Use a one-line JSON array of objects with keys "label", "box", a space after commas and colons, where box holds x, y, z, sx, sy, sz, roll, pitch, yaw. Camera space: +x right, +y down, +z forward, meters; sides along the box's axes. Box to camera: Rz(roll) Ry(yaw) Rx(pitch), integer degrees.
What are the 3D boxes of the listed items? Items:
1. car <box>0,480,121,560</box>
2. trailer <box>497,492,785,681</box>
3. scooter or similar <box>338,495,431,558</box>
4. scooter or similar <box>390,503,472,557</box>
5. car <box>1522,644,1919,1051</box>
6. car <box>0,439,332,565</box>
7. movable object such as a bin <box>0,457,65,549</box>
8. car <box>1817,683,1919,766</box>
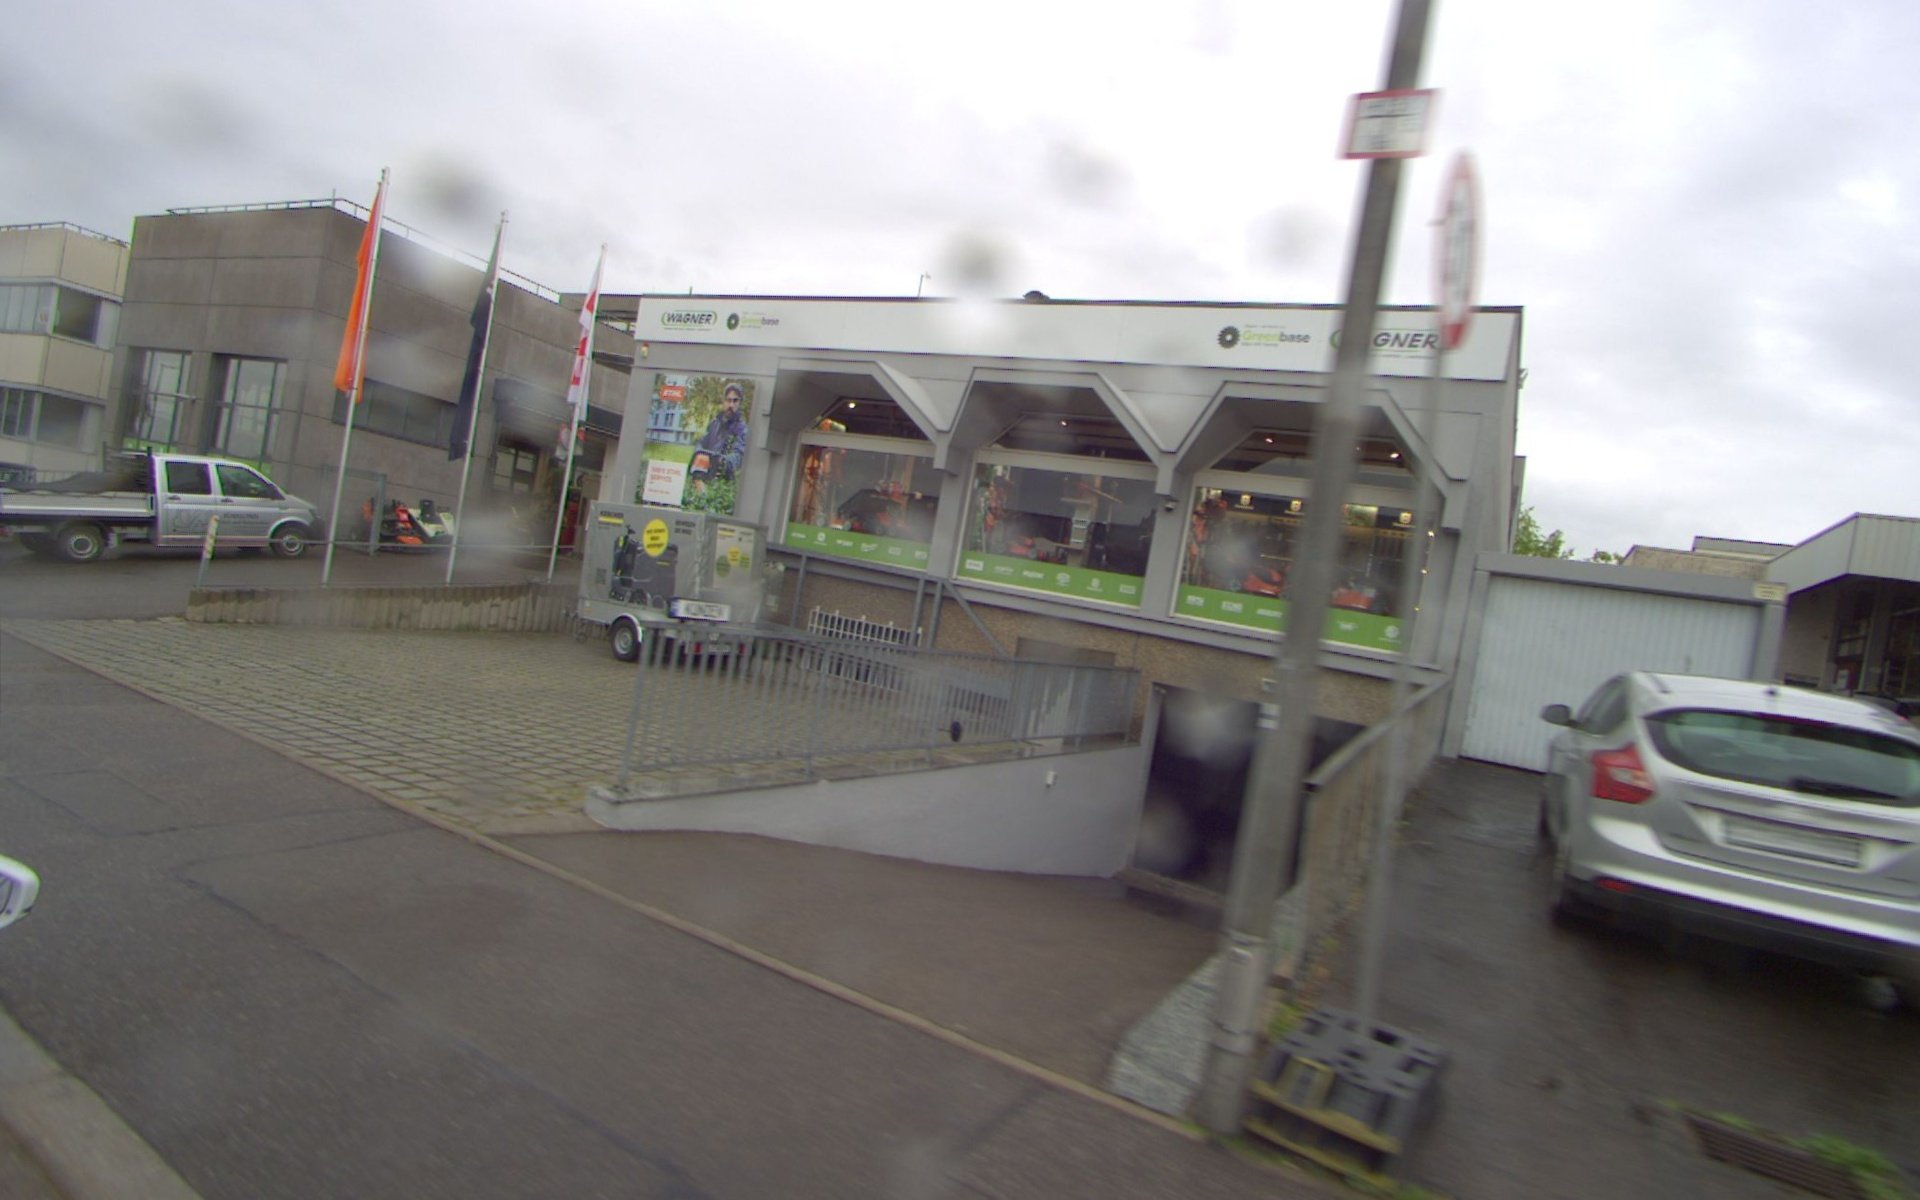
[{"label": "car", "box": [-23.266, -2.093, 23.581, 1.891, 1.633, 5.101, 8, 0, 28]}, {"label": "trailer", "box": [-5.254, -0.240, 16.443, 4.235, 2.446, 1.890, 8, 1, 30]}, {"label": "scooter or similar", "box": [-13.841, -1.777, 24.184, 2.030, 1.242, 1.064, 9, 4, 32]}, {"label": "scooter or similar", "box": [-13.294, -1.763, 25.279, 1.815, 1.171, 1.003, 7, 3, 32]}, {"label": "car", "box": [4.791, 1.182, 6.317, 1.969, 1.594, 4.126, 6, 1, 28]}, {"label": "car", "box": [-15.314, -1.831, 19.132, 2.184, 2.044, 5.292, 6, 6, 29]}, {"label": "movable object such as a bin", "box": [-24.856, -2.601, 24.459, 1.451, 2.136, 4.262, 7, 0, 29]}, {"label": "car", "box": [22.466, 3.003, 23.025, 3.757, 1.589, 1.863, 7, 2, 10]}]
